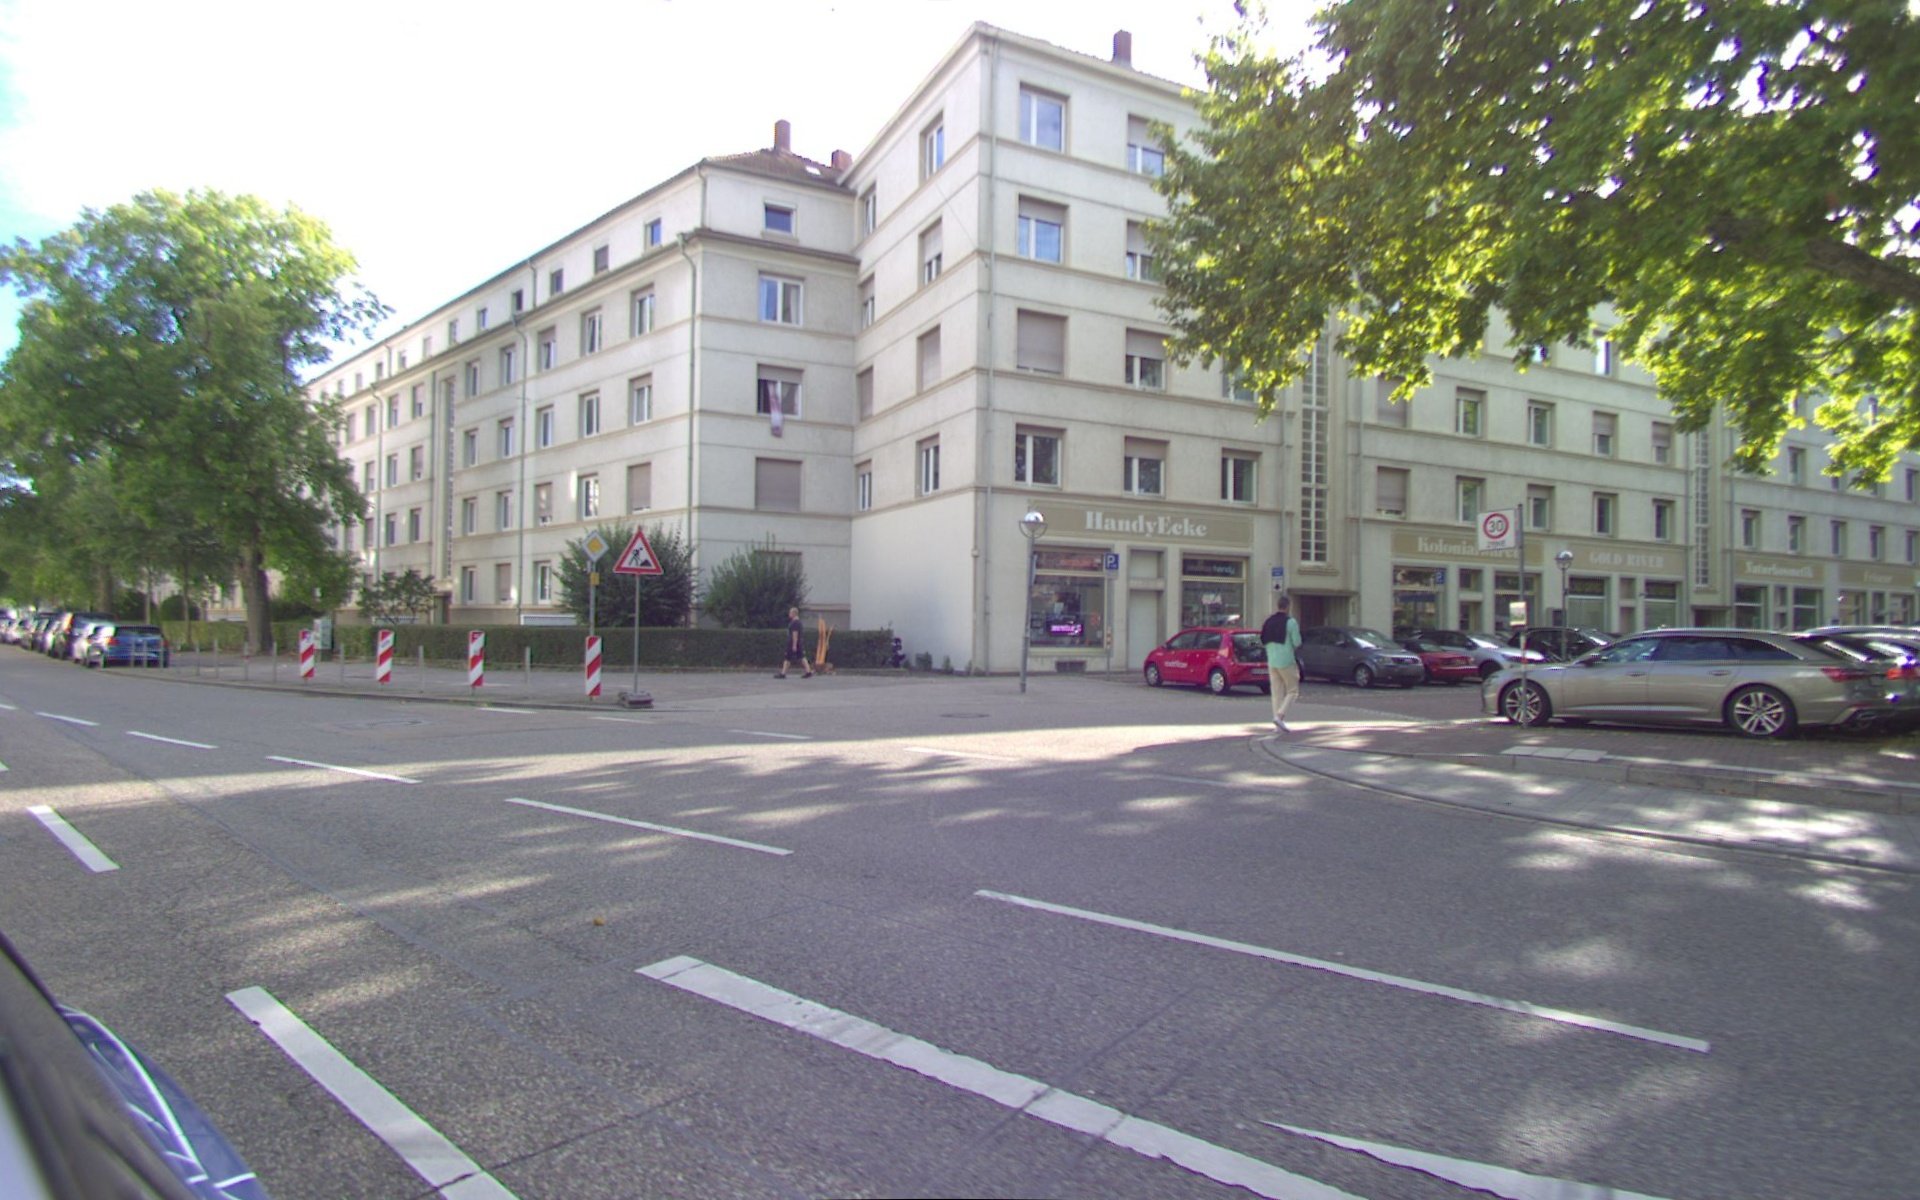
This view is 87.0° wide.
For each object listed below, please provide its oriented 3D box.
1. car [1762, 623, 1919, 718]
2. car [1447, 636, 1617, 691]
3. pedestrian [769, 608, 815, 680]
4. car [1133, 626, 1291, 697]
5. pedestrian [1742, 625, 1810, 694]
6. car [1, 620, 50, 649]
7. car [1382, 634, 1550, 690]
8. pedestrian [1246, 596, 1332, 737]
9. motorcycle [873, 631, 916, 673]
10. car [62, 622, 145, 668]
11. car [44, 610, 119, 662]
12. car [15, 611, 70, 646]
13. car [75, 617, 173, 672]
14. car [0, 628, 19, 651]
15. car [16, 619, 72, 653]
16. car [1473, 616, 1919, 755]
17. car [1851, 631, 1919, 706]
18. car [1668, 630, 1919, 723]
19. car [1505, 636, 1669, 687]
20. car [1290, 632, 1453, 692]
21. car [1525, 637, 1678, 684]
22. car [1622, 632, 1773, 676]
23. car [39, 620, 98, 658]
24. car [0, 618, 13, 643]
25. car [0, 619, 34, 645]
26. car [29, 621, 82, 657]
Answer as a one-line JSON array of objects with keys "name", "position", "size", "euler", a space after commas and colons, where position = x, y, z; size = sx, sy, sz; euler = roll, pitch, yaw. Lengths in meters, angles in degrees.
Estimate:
[{"name": "car", "position": [16.988, 1.217, 17.716], "size": [1.654, 1.629, 4.290], "euler": [1, -2, -28]}, {"name": "car", "position": [15.018, 1.631, 26.730], "size": [1.623, 1.314, 3.570], "euler": [1, -2, -30]}, {"name": "pedestrian", "position": [-3.813, 0.995, 23.004], "size": [0.732, 1.590, 0.724], "euler": [-1, -2, 39]}, {"name": "car", "position": [5.749, 1.357, 23.519], "size": [1.568, 1.489, 3.718], "euler": [1, -2, -26]}, {"name": "pedestrian", "position": [20.024, 1.447, 24.844], "size": [1.057, 1.667, 0.818], "euler": [1, -2, -17]}, {"name": "car", "position": [-54.000, 1.980, 58.450], "size": [3.994, 1.632, 1.720], "euler": [-1, -2, 42]}, {"name": "car", "position": [12.939, 1.535, 26.065], "size": [1.623, 1.314, 3.570], "euler": [1, -2, -30]}, {"name": "pedestrian", "position": [4.353, 0.840, 13.361], "size": [0.914, 1.767, 1.068], "euler": [-1, -1, 27]}, {"name": "motorcycle", "position": [-1.892, 1.466, 28.941], "size": [0.537, 1.172, 1.882], "euler": [1, -2, -26]}, {"name": "car", "position": [-29.960, 1.568, 35.368], "size": [3.804, 1.505, 1.779], "euler": [-1, -5, 45]}, {"name": "car", "position": [-33.969, 1.390, 39.091], "size": [4.192, 1.897, 1.704], "euler": [-1, -4, 43]}, {"name": "car", "position": [-47.531, 1.469, 52.398], "size": [4.484, 1.681, 1.779], "euler": [-1, -5, 45]}, {"name": "car", "position": [-26.541, 1.398, 32.114], "size": [3.802, 1.632, 1.780], "euler": [-1, -4, 42]}, {"name": "car", "position": [-65.351, 2.651, 68.929], "size": [1.665, 1.492, 4.455], "euler": [6, -5, -43]}, {"name": "car", "position": [-43.793, 1.706, 48.365], "size": [3.849, 1.498, 1.681], "euler": [-1, -5, 45]}, {"name": "car", "position": [10.318, 1.059, 14.355], "size": [2.204, 1.598, 4.986], "euler": [2, -2, -36]}, {"name": "car", "position": [19.143, 1.256, 18.126], "size": [1.828, 1.388, 4.401], "euler": [1, -2, -28]}, {"name": "car", "position": [14.543, 1.184, 16.359], "size": [1.643, 1.388, 4.853], "euler": [1, -2, -28]}, {"name": "car", "position": [17.555, 1.678, 28.467], "size": [1.623, 1.314, 3.570], "euler": [1, -2, -30]}, {"name": "car", "position": [10.322, 1.518, 25.665], "size": [1.568, 1.377, 3.718], "euler": [1, -2, -26]}, {"name": "car", "position": [19.343, 1.790, 30.652], "size": [1.623, 1.314, 3.570], "euler": [1, -2, -30]}, {"name": "car", "position": [23.664, 1.695, 32.596], "size": [1.623, 1.314, 3.570], "euler": [1, -2, -30]}, {"name": "car", "position": [-37.643, 1.627, 42.706], "size": [1.674, 1.504, 4.336], "euler": [4, -4, -43]}, {"name": "car", "position": [-73.041, 2.273, 76.363], "size": [4.970, 1.807, 1.857], "euler": [-1, -4, 43]}, {"name": "car", "position": [-57.363, 1.936, 61.260], "size": [4.014, 1.479, 1.596], "euler": [-1, -3, 43]}, {"name": "car", "position": [-40.854, 1.735, 45.697], "size": [3.017, 1.532, 1.535], "euler": [-1, -5, 45]}]
